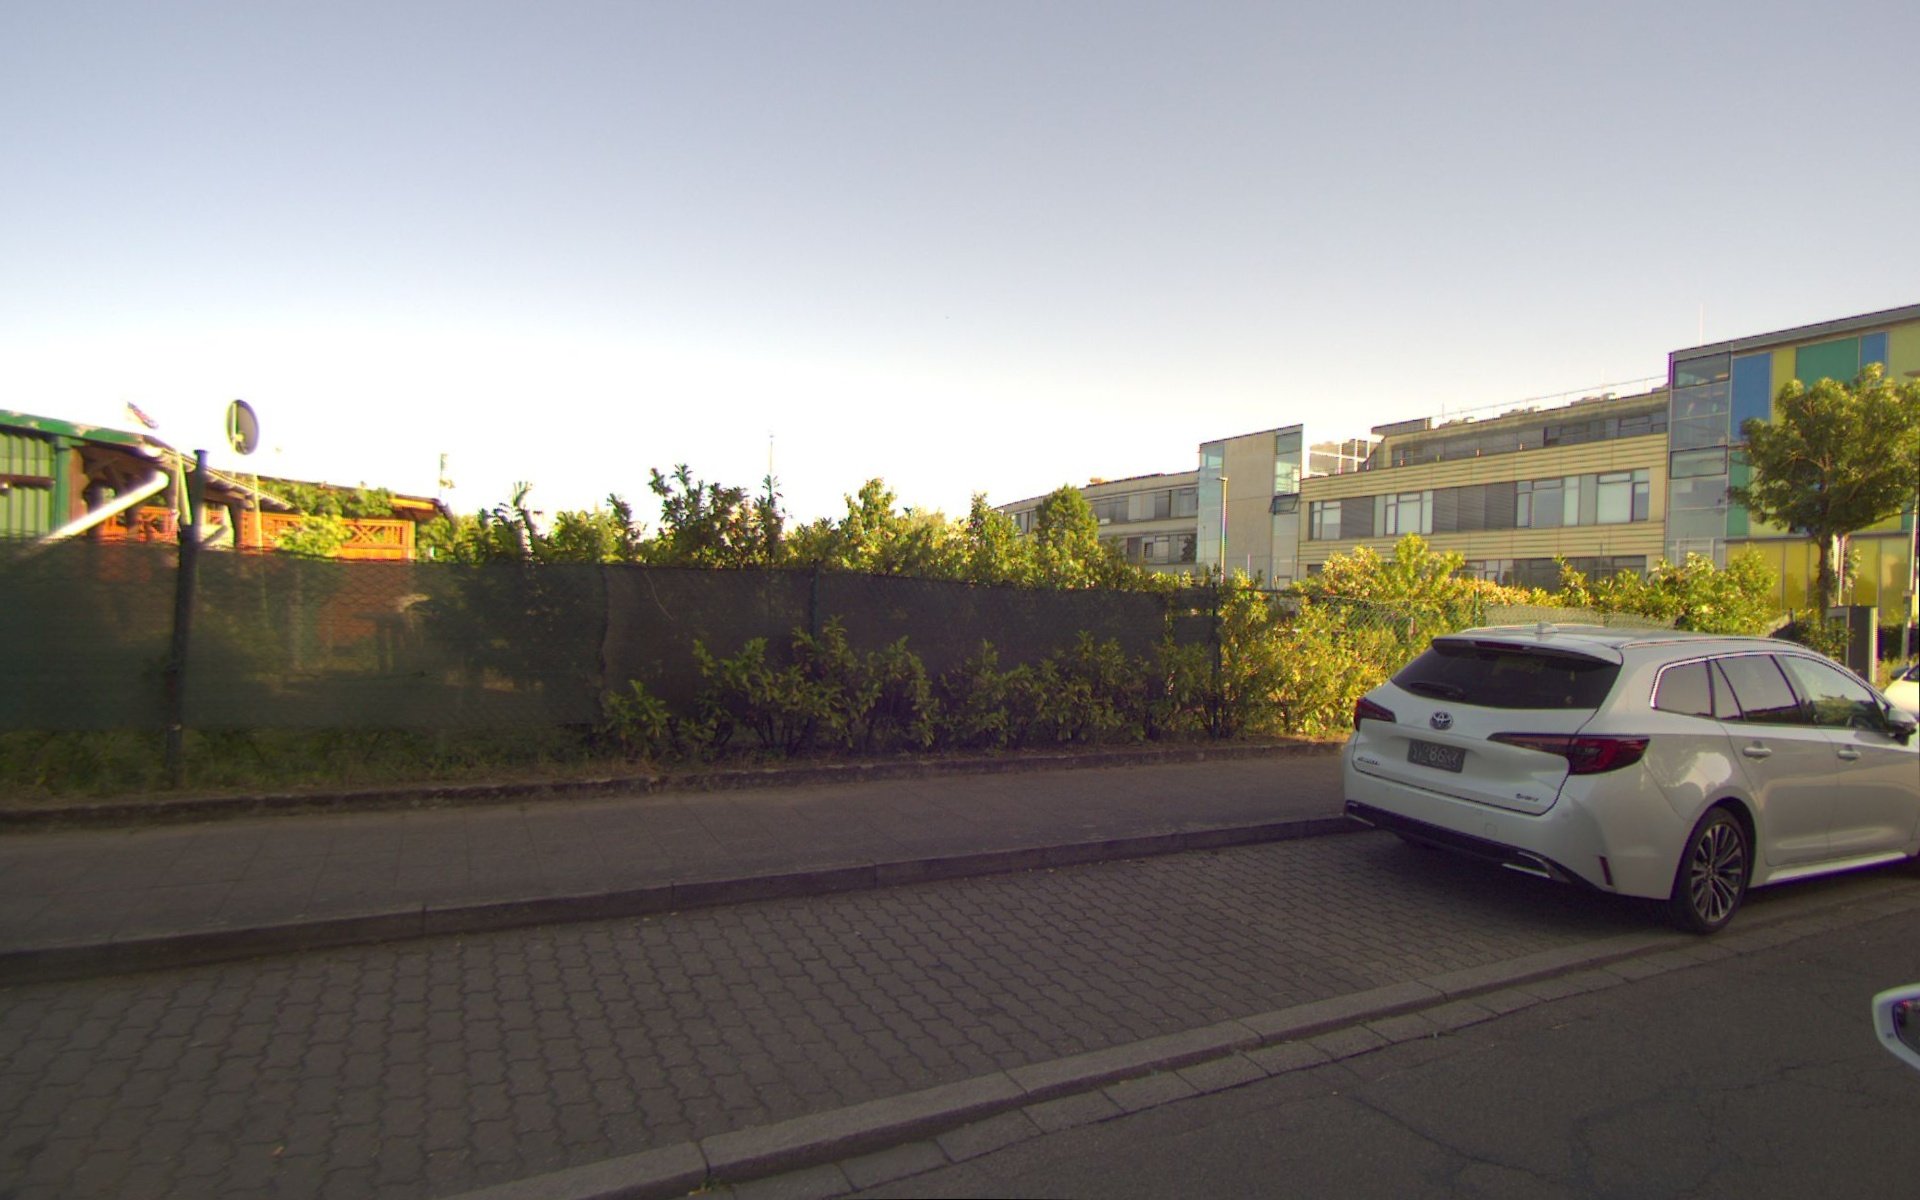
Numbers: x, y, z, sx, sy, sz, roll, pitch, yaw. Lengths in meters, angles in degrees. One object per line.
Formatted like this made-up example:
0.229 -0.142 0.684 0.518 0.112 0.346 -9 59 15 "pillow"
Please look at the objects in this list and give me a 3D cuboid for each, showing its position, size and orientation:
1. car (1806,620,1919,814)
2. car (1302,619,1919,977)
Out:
9.854 1.048 9.150 4.460 1.534 1.689 2 2 -28 "car"
4.409 0.938 6.149 4.483 1.465 1.740 2 1 -27 "car"
